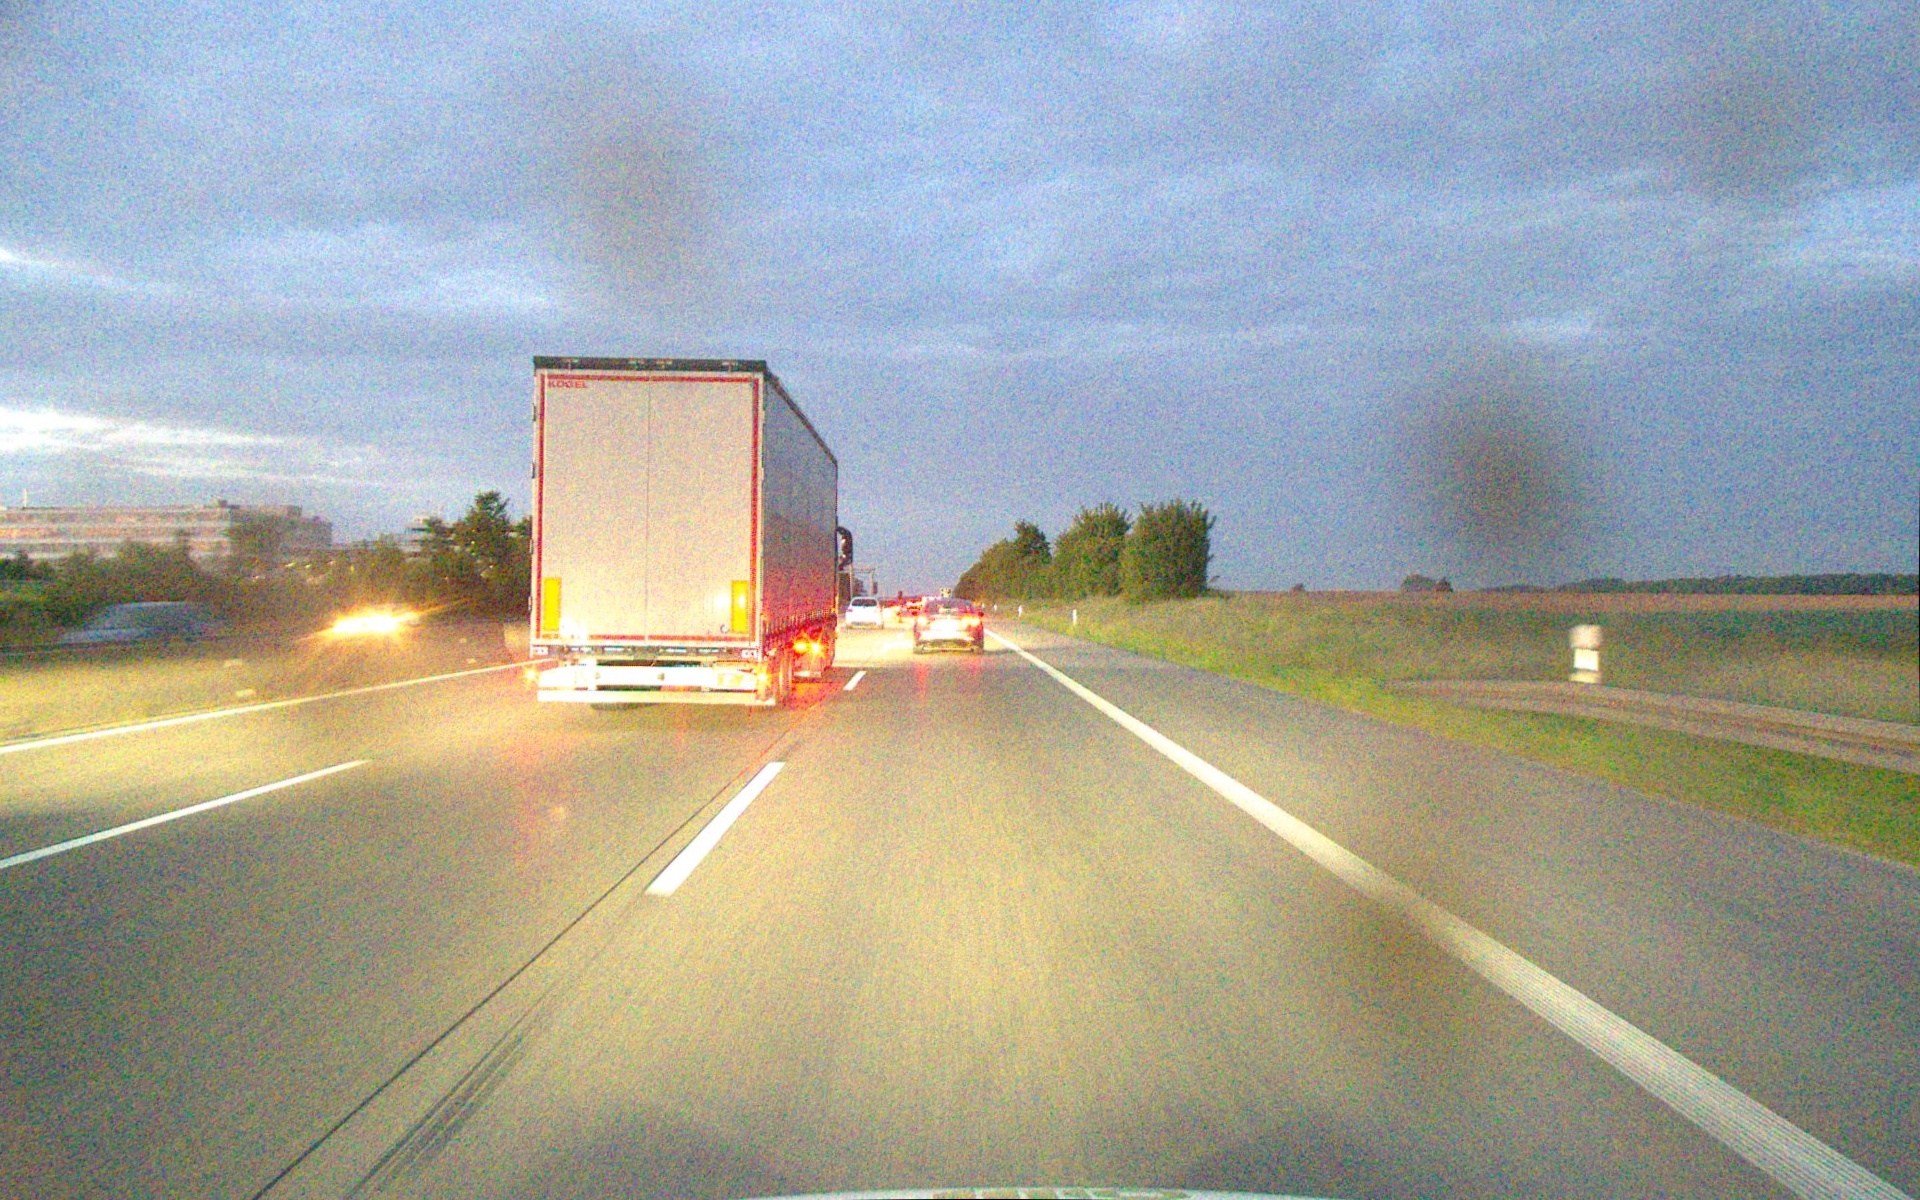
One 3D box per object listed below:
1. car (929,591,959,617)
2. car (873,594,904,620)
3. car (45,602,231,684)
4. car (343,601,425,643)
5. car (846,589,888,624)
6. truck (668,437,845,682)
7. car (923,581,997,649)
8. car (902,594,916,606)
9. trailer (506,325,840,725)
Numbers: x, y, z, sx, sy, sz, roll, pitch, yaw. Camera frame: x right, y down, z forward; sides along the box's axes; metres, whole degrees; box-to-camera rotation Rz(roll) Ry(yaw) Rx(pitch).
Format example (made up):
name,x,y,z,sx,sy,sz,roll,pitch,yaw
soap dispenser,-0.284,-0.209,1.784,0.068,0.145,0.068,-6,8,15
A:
name,x,y,z,sx,sy,sz,roll,pitch,yaw
car,-1.059,0.259,107.281,1.842,1.579,3.999,1,0,-1
car,-4.292,0.450,99.599,1.688,1.497,4.725,1,0,-1
car,-15.445,0.774,31.299,1.572,1.411,3.901,1,0,-1
car,-23.112,0.871,66.523,1.708,1.562,4.520,1,0,-1
car,-4.383,0.315,78.118,1.708,1.551,4.413,1,0,0
truck,-3.665,-0.668,31.155,2.721,4.164,6.101,0,0,-1
car,-0.032,0.387,43.823,1.842,1.672,3.999,1,0,-1
car,-6.823,0.004,220.563,1.842,1.579,3.999,1,0,-1
trailer,-3.514,-0.739,24.506,2.737,4.157,14.521,0,0,-1
